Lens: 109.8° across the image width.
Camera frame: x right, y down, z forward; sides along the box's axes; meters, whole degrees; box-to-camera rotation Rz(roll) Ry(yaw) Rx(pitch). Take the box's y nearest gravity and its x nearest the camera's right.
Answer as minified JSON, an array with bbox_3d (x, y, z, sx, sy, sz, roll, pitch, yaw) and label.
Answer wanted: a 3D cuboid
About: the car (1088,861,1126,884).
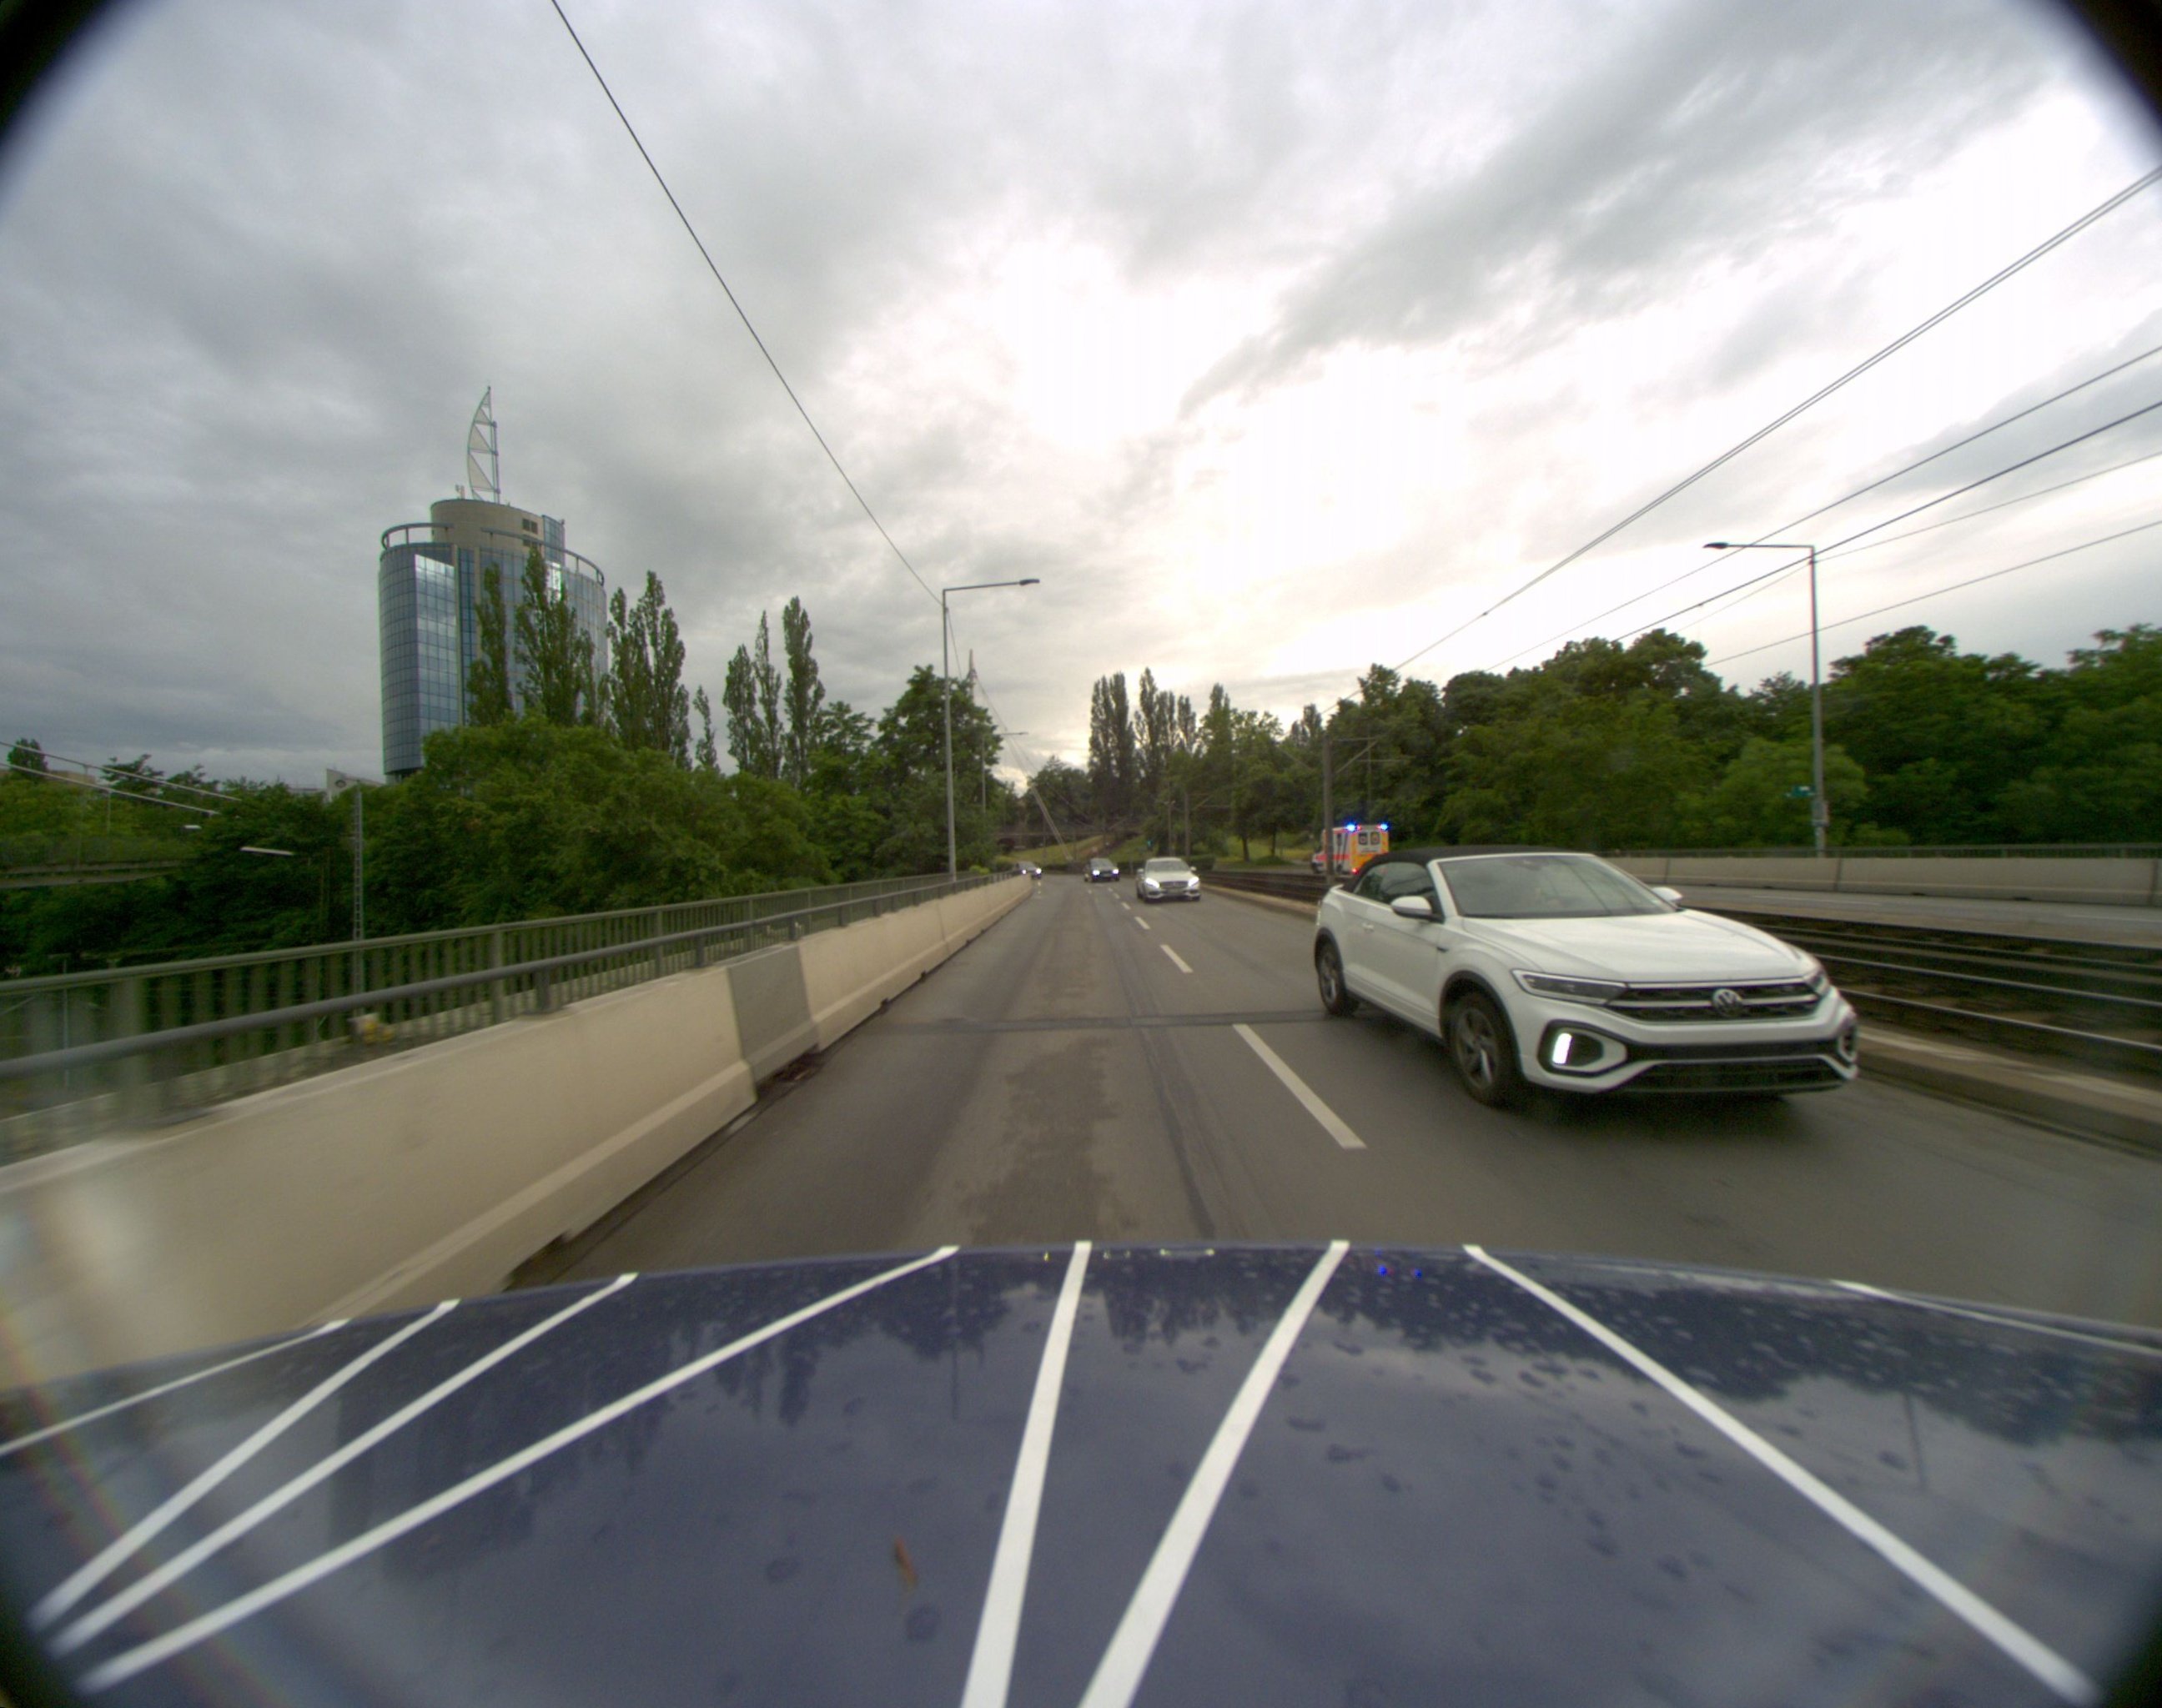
[{"bbox_3d":[1.582,1.125,47.934,1.737,1.344,3.997,-2,0,-7],"label":"car"}]

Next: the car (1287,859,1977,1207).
[{"bbox_3d":[3.163,0.841,5.774,1.876,1.515,4.540,-3,0,-1],"label":"car"}]

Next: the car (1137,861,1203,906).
[{"bbox_3d":[2.960,0.950,26.011,1.871,1.348,4.060,-1,0,1],"label":"car"}]

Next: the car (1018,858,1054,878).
[{"bbox_3d":[-3.620,1.136,60.995,1.771,1.492,3.993,-2,0,-20],"label":"car"}]

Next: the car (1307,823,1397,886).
[{"bbox_3d":[14.890,0.017,42.266,2.396,3.097,6.355,-2,0,-3],"label":"car"}]

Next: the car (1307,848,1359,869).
[{"bbox_3d":[17.965,0.342,54.386,1.842,1.306,4.618,-4,-1,-4],"label":"car"}]
